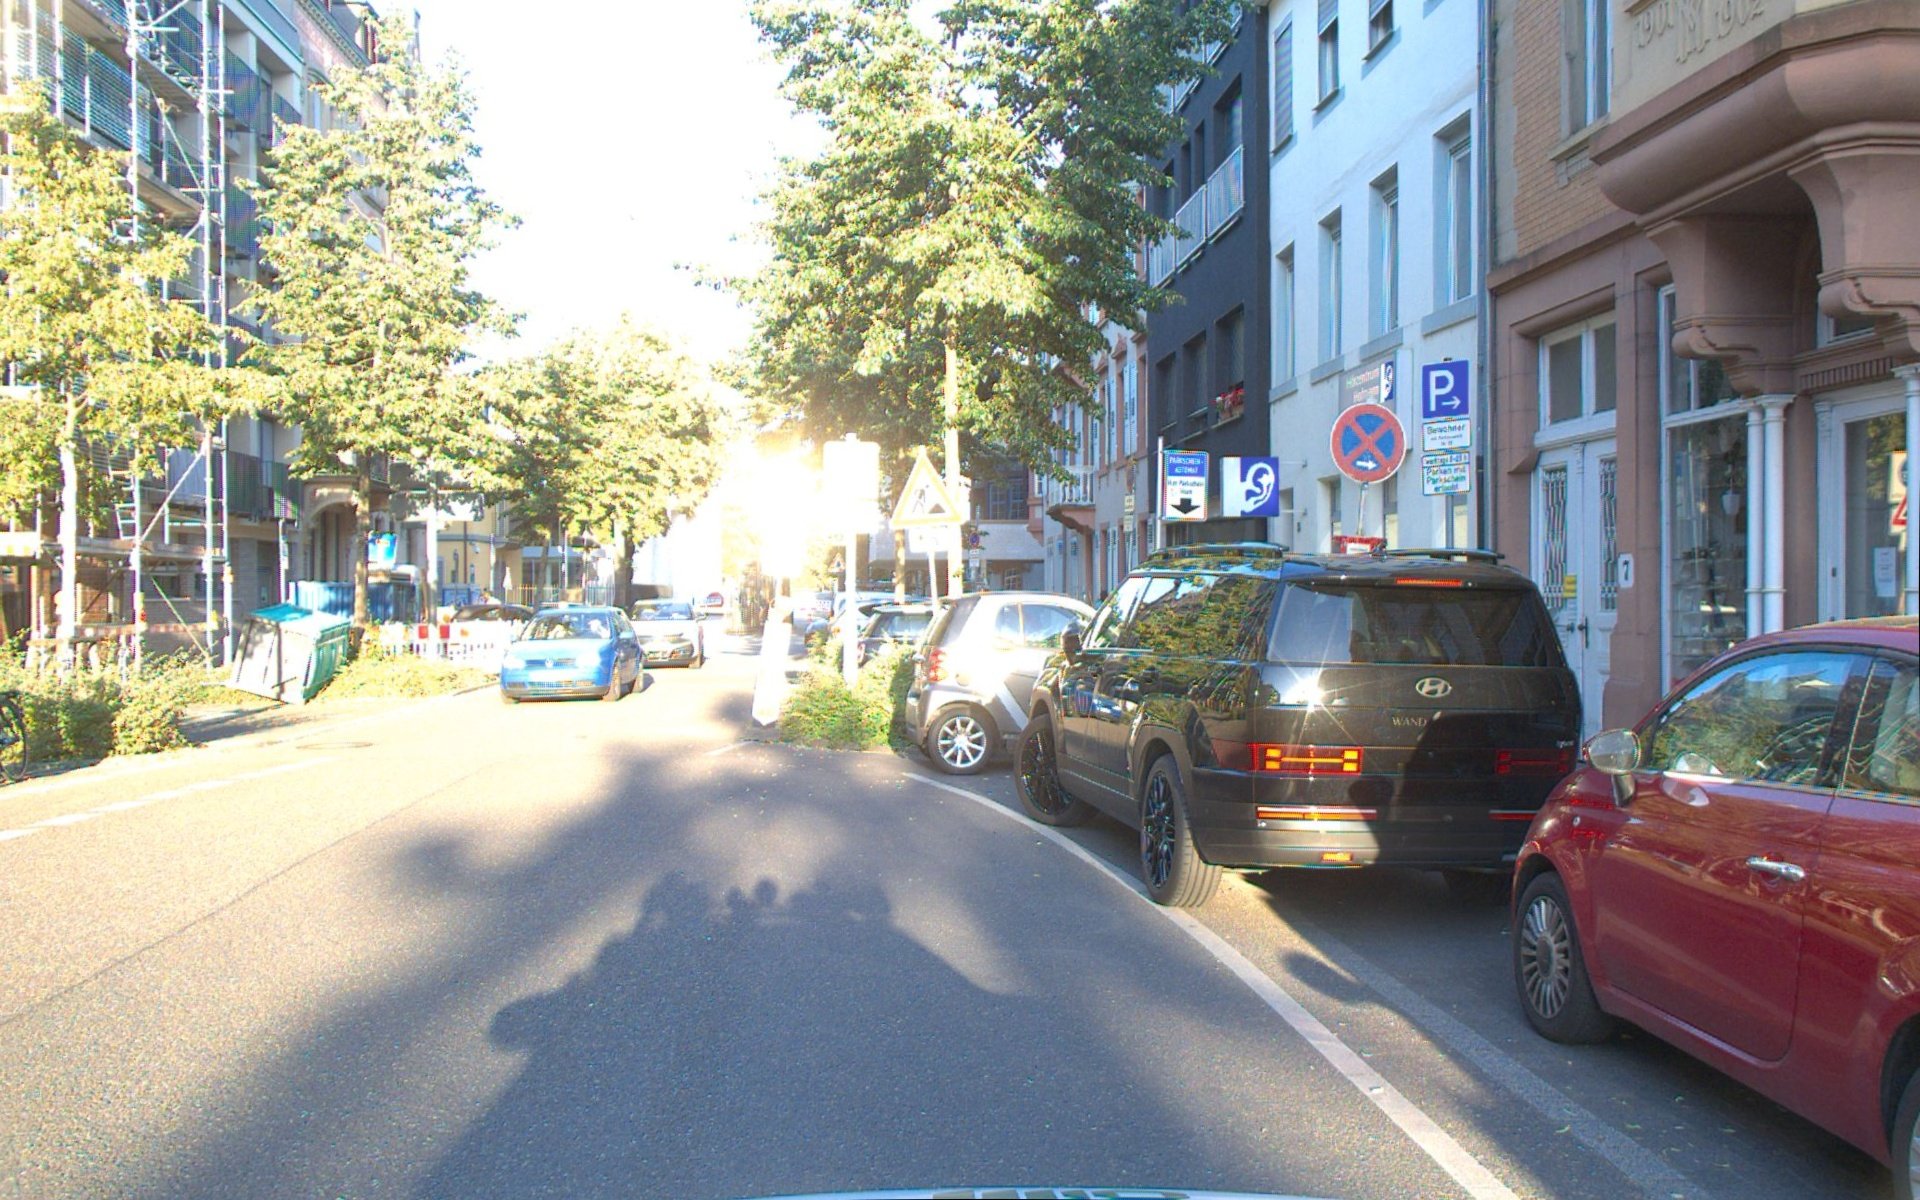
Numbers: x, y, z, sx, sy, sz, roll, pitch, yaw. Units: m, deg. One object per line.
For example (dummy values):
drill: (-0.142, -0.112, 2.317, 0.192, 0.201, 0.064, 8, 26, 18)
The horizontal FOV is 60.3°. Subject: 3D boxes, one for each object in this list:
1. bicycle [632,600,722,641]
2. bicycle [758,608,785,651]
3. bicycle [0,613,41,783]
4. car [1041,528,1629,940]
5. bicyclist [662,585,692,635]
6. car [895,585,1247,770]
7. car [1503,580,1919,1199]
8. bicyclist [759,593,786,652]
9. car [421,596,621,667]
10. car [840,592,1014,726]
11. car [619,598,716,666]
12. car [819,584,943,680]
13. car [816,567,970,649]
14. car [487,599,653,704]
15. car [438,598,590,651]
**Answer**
bicycle: (-10.017, 0.719, 58.574, 3.119, 1.374, 0.845, -1, 0, -11)
bicycle: (-5.629, 0.871, 49.435, 0.766, 1.225, 2.017, -1, 0, -7)
bicycle: (-8.063, 0.799, 12.762, 0.830, 1.374, 3.176, 0, 0, -13)
car: (1.733, 0.584, 9.226, 1.790, 1.725, 4.361, 1, 0, -8)
bicyclist: (-10.022, 0.343, 58.562, 0.985, 1.726, 0.781, -1, 0, -10)
car: (0.950, 0.678, 14.901, 2.913, 1.563, 1.430, 1, -1, -9)
car: (2.896, 0.727, 4.613, 1.555, 1.509, 3.264, 1, 0, -3)
bicyclist: (-5.599, 0.670, 49.425, 0.766, 1.726, 1.005, -1, 0, -7)
car: (-9.827, 0.694, 37.294, 4.021, 1.491, 1.888, 1, 0, -3)
car: (-0.577, 0.778, 23.516, 1.956, 1.697, 4.501, 1, 0, -8)
car: (-6.863, 0.728, 39.165, 1.848, 1.506, 4.454, 1, 0, -5)
car: (-1.838, 0.681, 36.737, 2.223, 1.796, 4.501, 6, -1, -8)
car: (-1.701, 0.192, 43.030, 3.906, 2.049, 2.000, 0, 0, -1)
car: (-5.958, 0.748, 25.748, 1.802, 1.466, 4.328, -1, 0, -4)
car: (-13.183, 0.714, 49.109, 4.021, 1.491, 1.888, 1, 0, -3)
